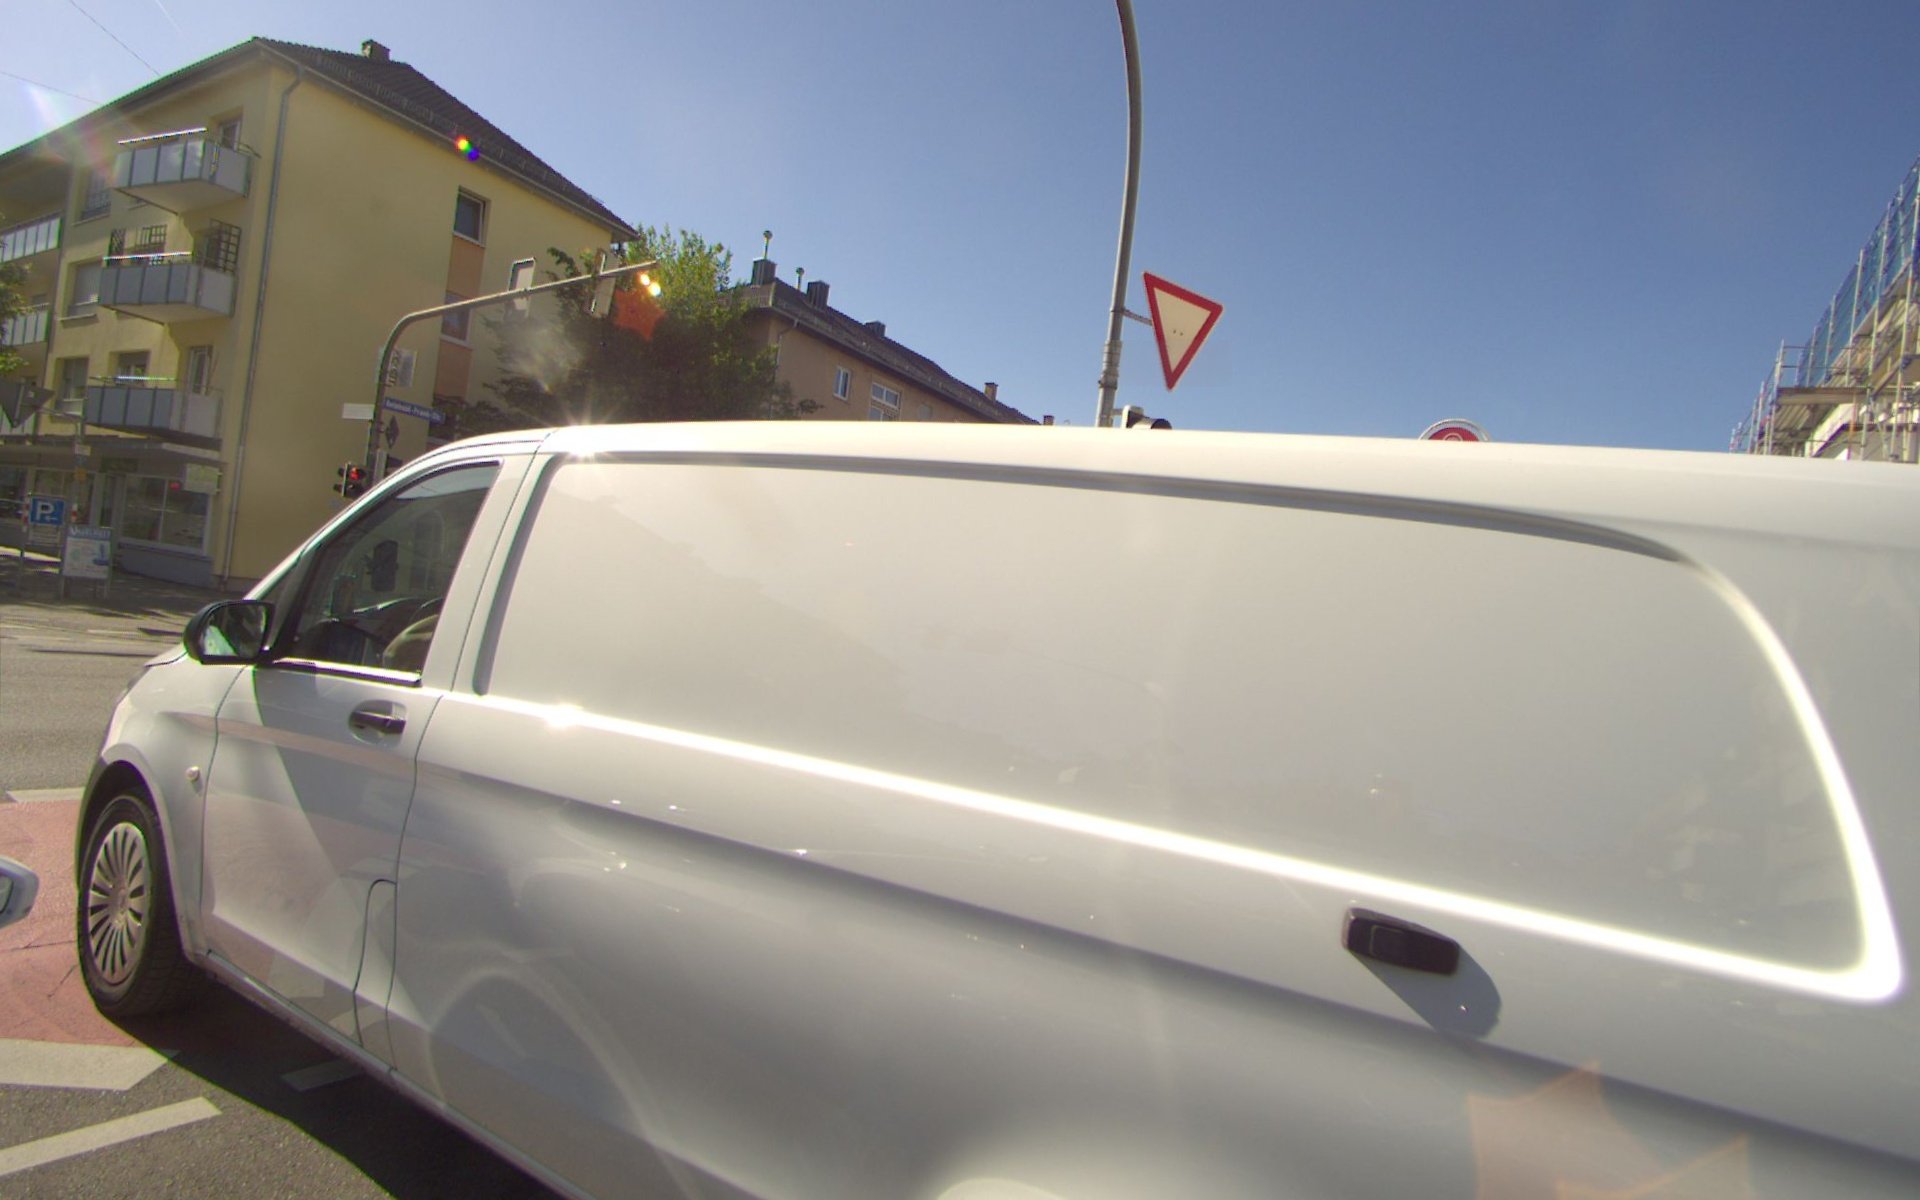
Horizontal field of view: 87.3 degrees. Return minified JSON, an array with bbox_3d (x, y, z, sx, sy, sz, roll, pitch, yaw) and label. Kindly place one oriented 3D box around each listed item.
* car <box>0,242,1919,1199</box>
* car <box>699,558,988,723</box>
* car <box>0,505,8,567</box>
[{"bbox_3d":[-0.477,0.496,2.777,4.752,1.831,1.972,6,-1,31],"label":"car"},{"bbox_3d":[-1.536,0.771,15.640,1.939,1.961,5.059,7,-3,25],"label":"car"},{"bbox_3d":[-19.668,-1.246,18.896,3.423,1.501,1.715,7,-1,33],"label":"car"}]
